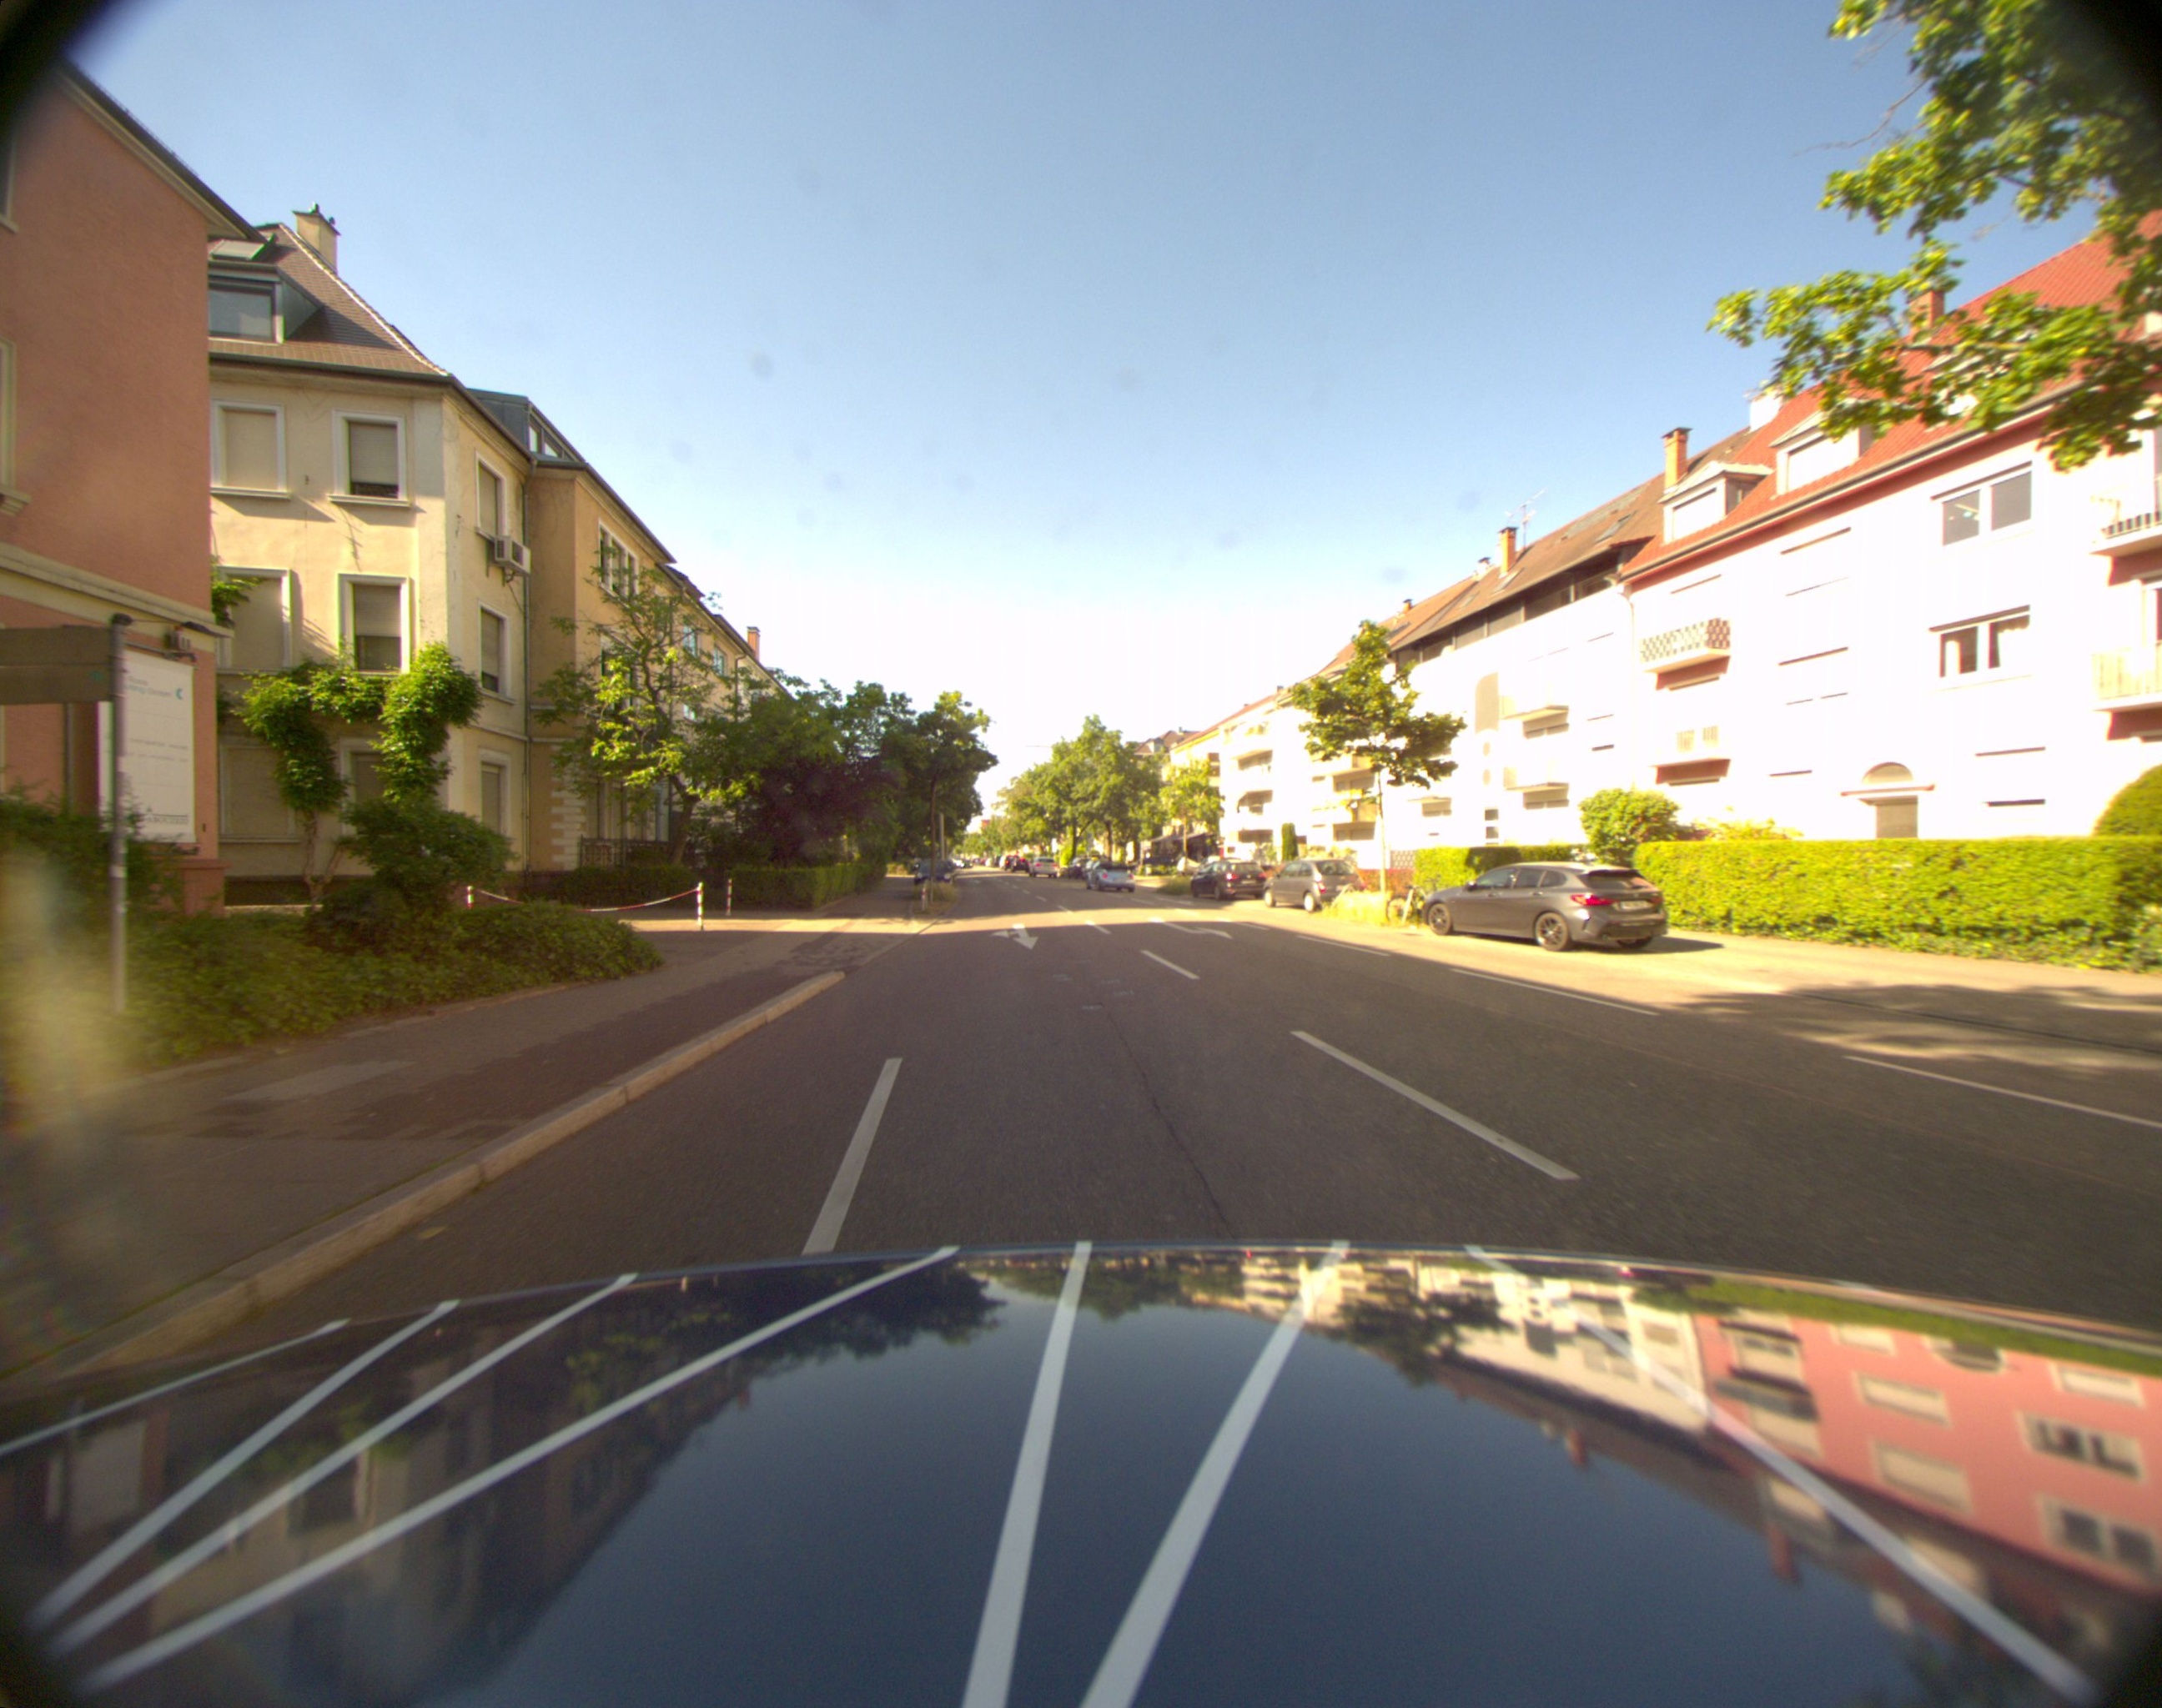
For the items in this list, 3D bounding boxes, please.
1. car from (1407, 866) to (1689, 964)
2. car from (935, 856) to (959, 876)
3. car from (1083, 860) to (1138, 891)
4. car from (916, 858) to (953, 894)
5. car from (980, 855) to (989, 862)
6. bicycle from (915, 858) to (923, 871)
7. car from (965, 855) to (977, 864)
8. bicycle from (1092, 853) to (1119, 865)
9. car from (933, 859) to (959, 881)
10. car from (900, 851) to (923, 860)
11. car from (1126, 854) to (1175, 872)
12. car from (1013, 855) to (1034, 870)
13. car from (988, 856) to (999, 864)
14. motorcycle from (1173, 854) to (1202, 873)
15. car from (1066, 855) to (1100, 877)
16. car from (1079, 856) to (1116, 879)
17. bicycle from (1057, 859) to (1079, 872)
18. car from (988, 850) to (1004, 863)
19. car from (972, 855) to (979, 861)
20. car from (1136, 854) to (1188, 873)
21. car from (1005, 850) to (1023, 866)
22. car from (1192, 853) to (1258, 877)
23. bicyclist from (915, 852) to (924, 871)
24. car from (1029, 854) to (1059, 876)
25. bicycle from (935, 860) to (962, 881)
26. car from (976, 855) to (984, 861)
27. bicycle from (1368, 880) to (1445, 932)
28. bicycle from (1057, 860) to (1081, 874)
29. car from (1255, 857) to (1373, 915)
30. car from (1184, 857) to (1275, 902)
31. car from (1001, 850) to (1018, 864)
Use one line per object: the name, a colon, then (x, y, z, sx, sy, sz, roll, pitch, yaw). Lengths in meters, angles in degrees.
car: (8.081, 0.949, 13.712, 1.774, 1.400, 4.361, -1, 0, -13)
car: (-10.191, 0.902, 57.727, 1.720, 1.480, 4.230, 0, 0, -11)
car: (1.325, 0.978, 35.938, 1.743, 1.373, 3.933, 1, 0, -11)
car: (-6.735, 0.957, 34.893, 1.565, 1.506, 3.651, 2, 0, -12)
car: (-19.703, 0.980, 155.369, 1.587, 1.443, 3.741, 0, 0, -12)
bicycle: (-15.774, 1.025, 74.104, 0.700, 1.239, 1.820, 1, 0, -10)
car: (-16.608, 0.853, 114.432, 1.655, 1.348, 4.300, 0, 0, -9)
bicycle: (2.642, 0.531, 81.732, 3.181, 1.255, 0.949, -2, 3, -44)
car: (-8.937, 1.033, 50.426, 1.617, 1.375, 3.972, 0, 0, -9)
car: (-31.557, 0.342, 141.651, 4.001, 1.432, 1.829, 3, 0, -10)
car: (5.934, 0.789, 64.664, 3.994, 1.447, 1.734, -1, 0, 9)
car: (-6.311, 0.941, 83.157, 1.725, 1.556, 4.338, 2, 0, -10)
car: (-15.840, 1.113, 136.891, 1.739, 1.404, 4.188, 2, 0, -10)
motorcycle: (8.299, 0.740, 59.295, 2.156, 1.477, 0.781, -1, 0, -1)
car: (0.120, 0.902, 58.687, 1.728, 1.587, 4.131, -2, 0, -12)
car: (1.108, 0.906, 53.400, 1.728, 1.527, 4.676, -2, 0, -10)
bicycle: (-1.172, 1.035, 69.082, 1.933, 1.128, 0.463, -1, 0, 18)
car: (-13.144, 0.355, 117.218, 2.023, 1.940, 5.173, 1, 0, -11)
car: (-27.991, 1.042, 202.008, 1.587, 1.443, 3.741, 0, 0, -12)
car: (6.499, 0.779, 61.536, 3.997, 1.452, 1.733, -1, 0, -1)
car: (-8.335, 0.511, 94.660, 1.809, 1.899, 4.707, 2, 0, -10)
car: (9.709, 0.721, 51.408, 4.000, 1.478, 1.879, -1, 0, -10)
bicyclist: (-15.735, 0.732, 74.031, 0.726, 1.783, 1.014, 1, 0, -10)
car: (-3.011, 0.827, 61.094, 1.813, 1.638, 4.668, 2, 0, -10)
bicycle: (-8.180, 1.011, 46.993, 0.470, 1.230, 1.671, 0, 1, 42)
car: (-24.614, 1.084, 184.986, 1.587, 1.443, 3.741, 0, 0, -12)
bicycle: (7.333, 1.151, 17.132, 1.549, 1.127, 0.547, 0, 0, -11)
bicycle: (-1.054, 1.128, 65.947, 2.026, 1.085, 0.463, -1, 0, 13)
car: (6.773, 0.878, 22.471, 1.681, 1.516, 3.654, -2, 0, -13)
car: (5.535, 0.902, 28.936, 1.791, 1.484, 4.489, -2, 0, -11)
car: (-9.827, 0.387, 104.309, 1.822, 1.732, 4.488, 2, 0, -10)
